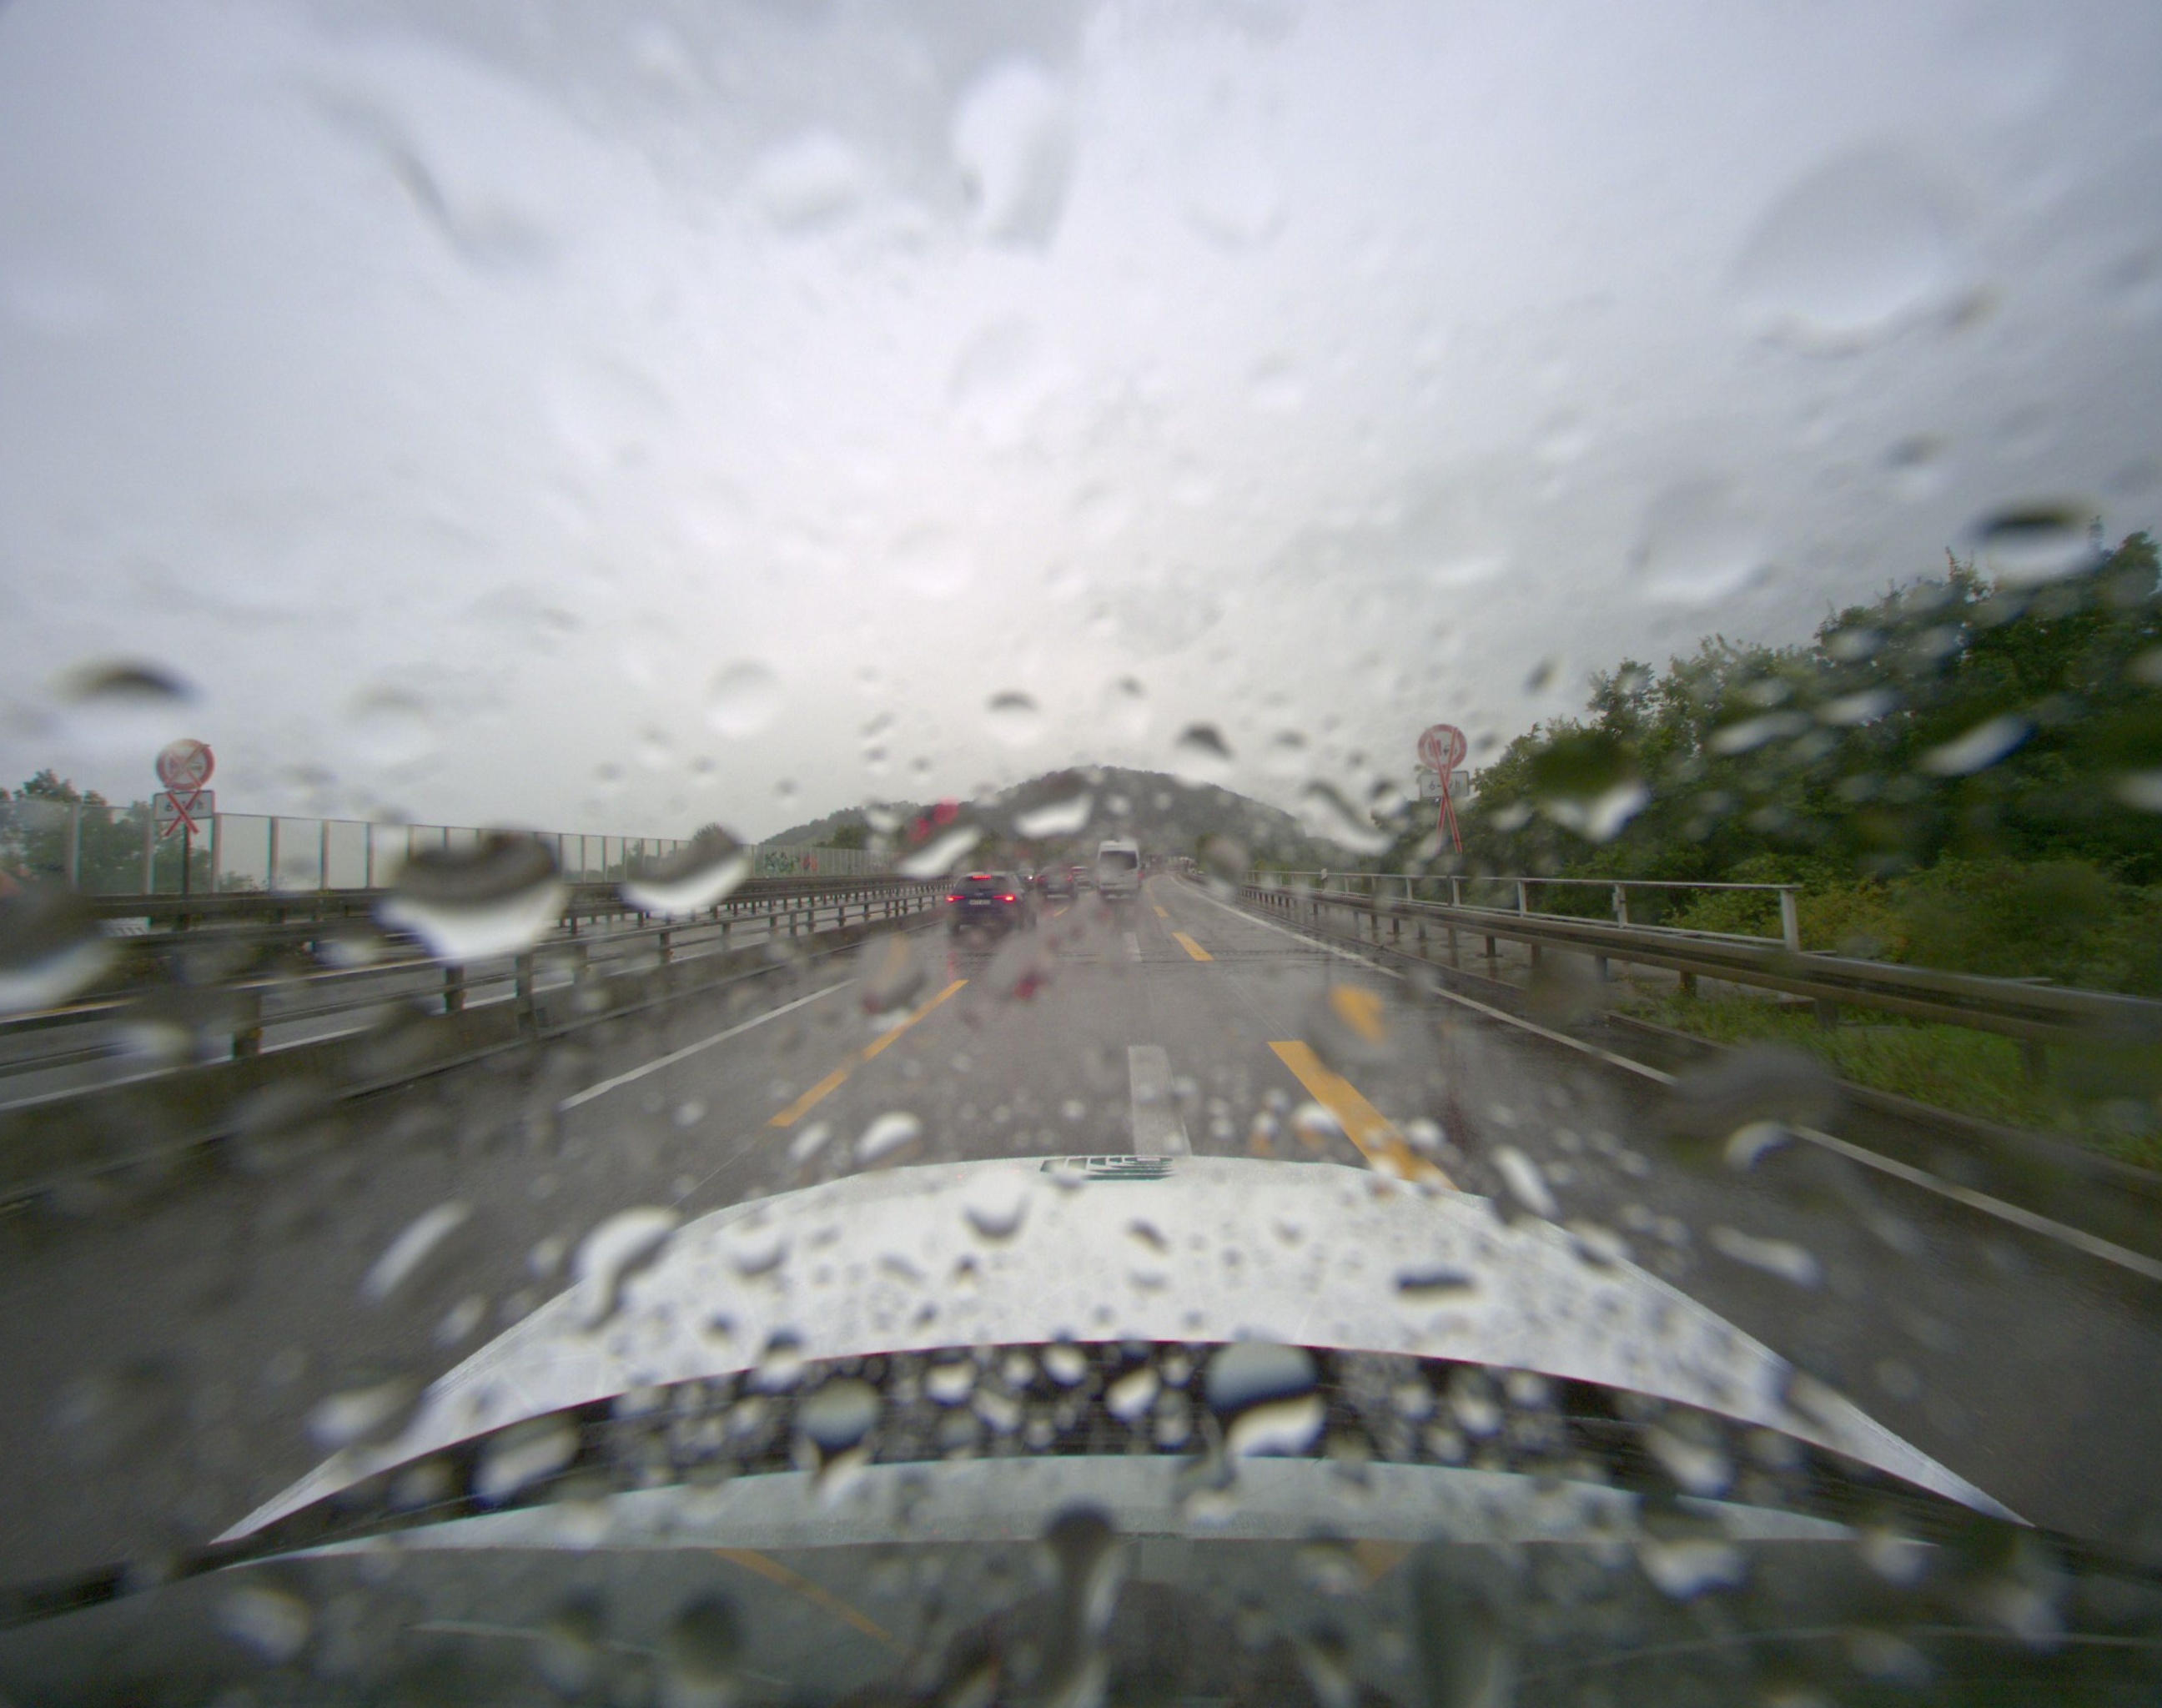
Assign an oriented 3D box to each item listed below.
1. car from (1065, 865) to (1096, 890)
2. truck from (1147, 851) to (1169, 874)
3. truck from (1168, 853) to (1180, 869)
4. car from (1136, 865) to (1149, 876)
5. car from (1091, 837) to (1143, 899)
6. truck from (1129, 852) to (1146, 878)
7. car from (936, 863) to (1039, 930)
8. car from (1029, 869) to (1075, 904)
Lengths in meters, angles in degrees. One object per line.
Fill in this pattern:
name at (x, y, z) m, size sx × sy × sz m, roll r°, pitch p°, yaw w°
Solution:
car at (-0.070, 1.616, 55.914) m, size 1.988 × 1.617 × 4.794 m, roll 0°, pitch -1°, yaw -1°
truck at (15.550, 1.750, 163.196) m, size 3.559 × 4.407 × 9.650 m, roll 0°, pitch -1°, yaw 10°
truck at (26.575, 2.132, 232.927) m, size 3.019 × 4.407 × 9.645 m, roll 0°, pitch -1°, yaw 8°
car at (9.024, 2.399, 119.288) m, size 1.765 × 1.475 × 4.005 m, roll 0°, pitch -1°, yaw 5°
car at (1.690, 0.635, 36.652) m, size 2.135 × 2.571 × 5.395 m, roll 0°, pitch -1°, yaw 4°
truck at (7.048, 1.390, 100.448) m, size 1.984 × 3.109 × 8.507 m, roll 0°, pitch -1°, yaw 4°
car at (-2.218, 0.995, 20.567) m, size 1.986 × 1.498 × 4.631 m, roll 0°, pitch -1°, yaw 1°
car at (-1.333, 1.506, 39.227) m, size 1.986 × 1.585 × 4.414 m, roll 0°, pitch -1°, yaw 1°
